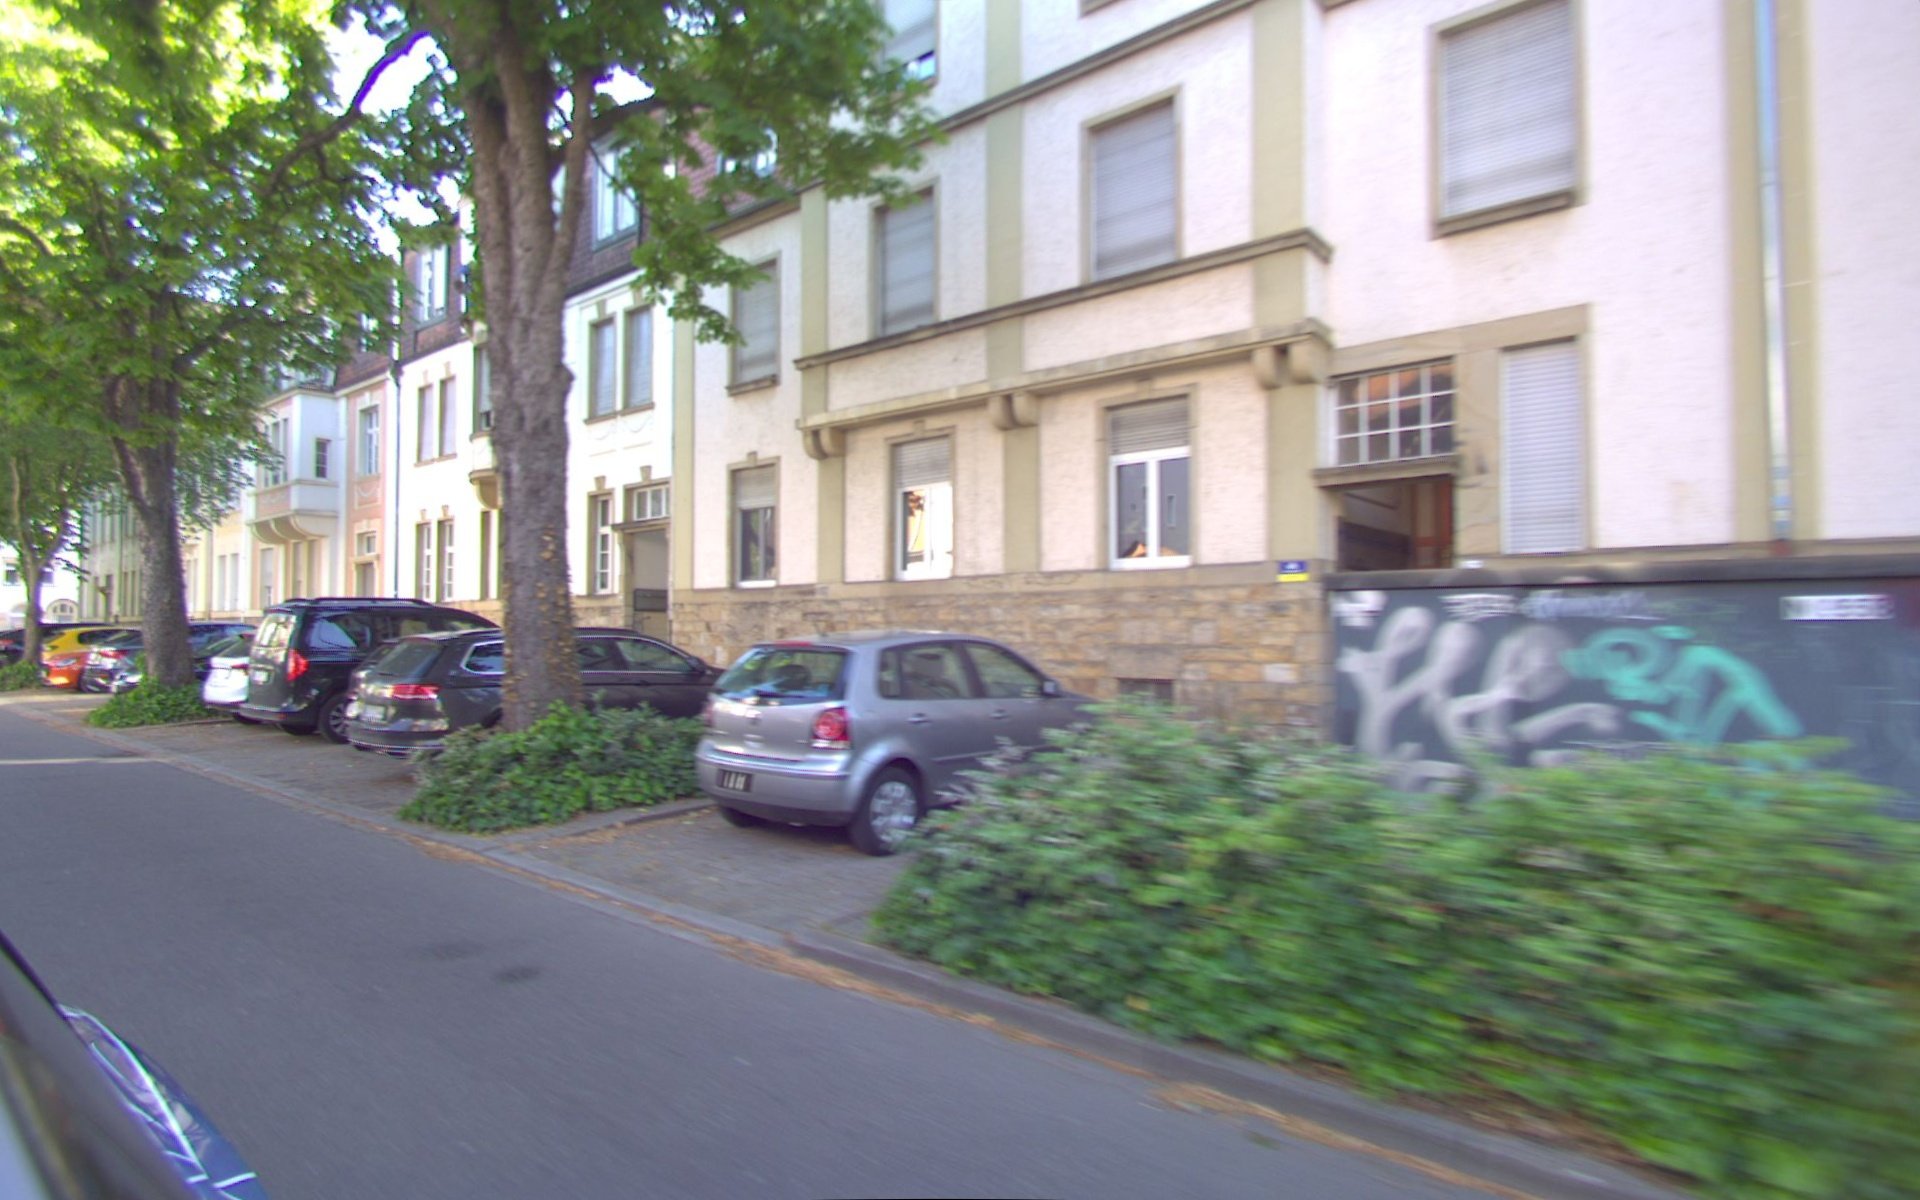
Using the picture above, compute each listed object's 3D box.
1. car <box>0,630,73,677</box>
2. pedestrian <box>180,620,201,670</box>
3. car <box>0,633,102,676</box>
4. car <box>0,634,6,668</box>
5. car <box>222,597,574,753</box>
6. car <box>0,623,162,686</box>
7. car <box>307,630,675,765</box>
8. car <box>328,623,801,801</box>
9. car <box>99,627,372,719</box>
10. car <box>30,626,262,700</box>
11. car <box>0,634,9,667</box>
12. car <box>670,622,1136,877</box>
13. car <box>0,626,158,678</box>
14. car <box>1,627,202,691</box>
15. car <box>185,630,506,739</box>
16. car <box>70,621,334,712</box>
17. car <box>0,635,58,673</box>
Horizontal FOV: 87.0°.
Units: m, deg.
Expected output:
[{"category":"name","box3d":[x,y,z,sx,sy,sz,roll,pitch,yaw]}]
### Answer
[{"category":"car","box3d":[-32.257,1.780,33.660,1.784,1.494,3.946,-1,-2,40]},{"category":"pedestrian","box3d":[-25.902,1.510,34.046,0.454,1.671,0.895,2,-3,-42]},{"category":"car","box3d":[-33.189,1.933,36.368,1.702,1.463,3.397,-1,-1,41]},{"category":"car","box3d":[-42.075,2.113,41.637,1.610,1.426,3.851,-1,-2,33]},{"category":"car","box3d":[-7.750,0.951,14.264,1.826,1.870,3.941,-1,-2,38]},{"category":"car","box3d":[-24.520,1.446,27.683,1.862,1.578,3.946,-1,-1,40]},{"category":"car","box3d":[-5.891,1.117,13.110,1.826,1.448,3.943,-1,-2,37]},{"category":"car","box3d":[-4.025,1.013,11.034,1.889,1.514,4.489,-1,-2,38]},{"category":"car","box3d":[-13.344,1.266,18.784,1.860,1.457,3.859,-2,-2,44]},{"category":"car","box3d":[-18.897,1.391,23.646,1.745,1.526,3.948,-1,-1,39]},{"category":"car","box3d":[-44.076,2.177,43.923,1.613,1.487,3.844,-1,-3,39]},{"category":"car","box3d":[-0.235,0.929,7.914,1.639,1.499,3.638,-1,-2,39]},{"category":"car","box3d":[-27.828,1.621,31.699,1.721,1.519,3.946,-1,-3,40]},{"category":"car","box3d":[-22.213,1.478,26.294,1.862,1.473,3.751,-1,-1,40]},{"category":"car","box3d":[-9.470,1.206,15.886,1.738,1.459,3.952,-1,-2,35]},{"category":"car","box3d":[-15.186,1.261,20.446,1.857,1.604,3.948,-2,-1,38]},{"category":"car","box3d":[-35.743,1.976,36.808,1.701,1.359,4.170,0,-1,39]}]
